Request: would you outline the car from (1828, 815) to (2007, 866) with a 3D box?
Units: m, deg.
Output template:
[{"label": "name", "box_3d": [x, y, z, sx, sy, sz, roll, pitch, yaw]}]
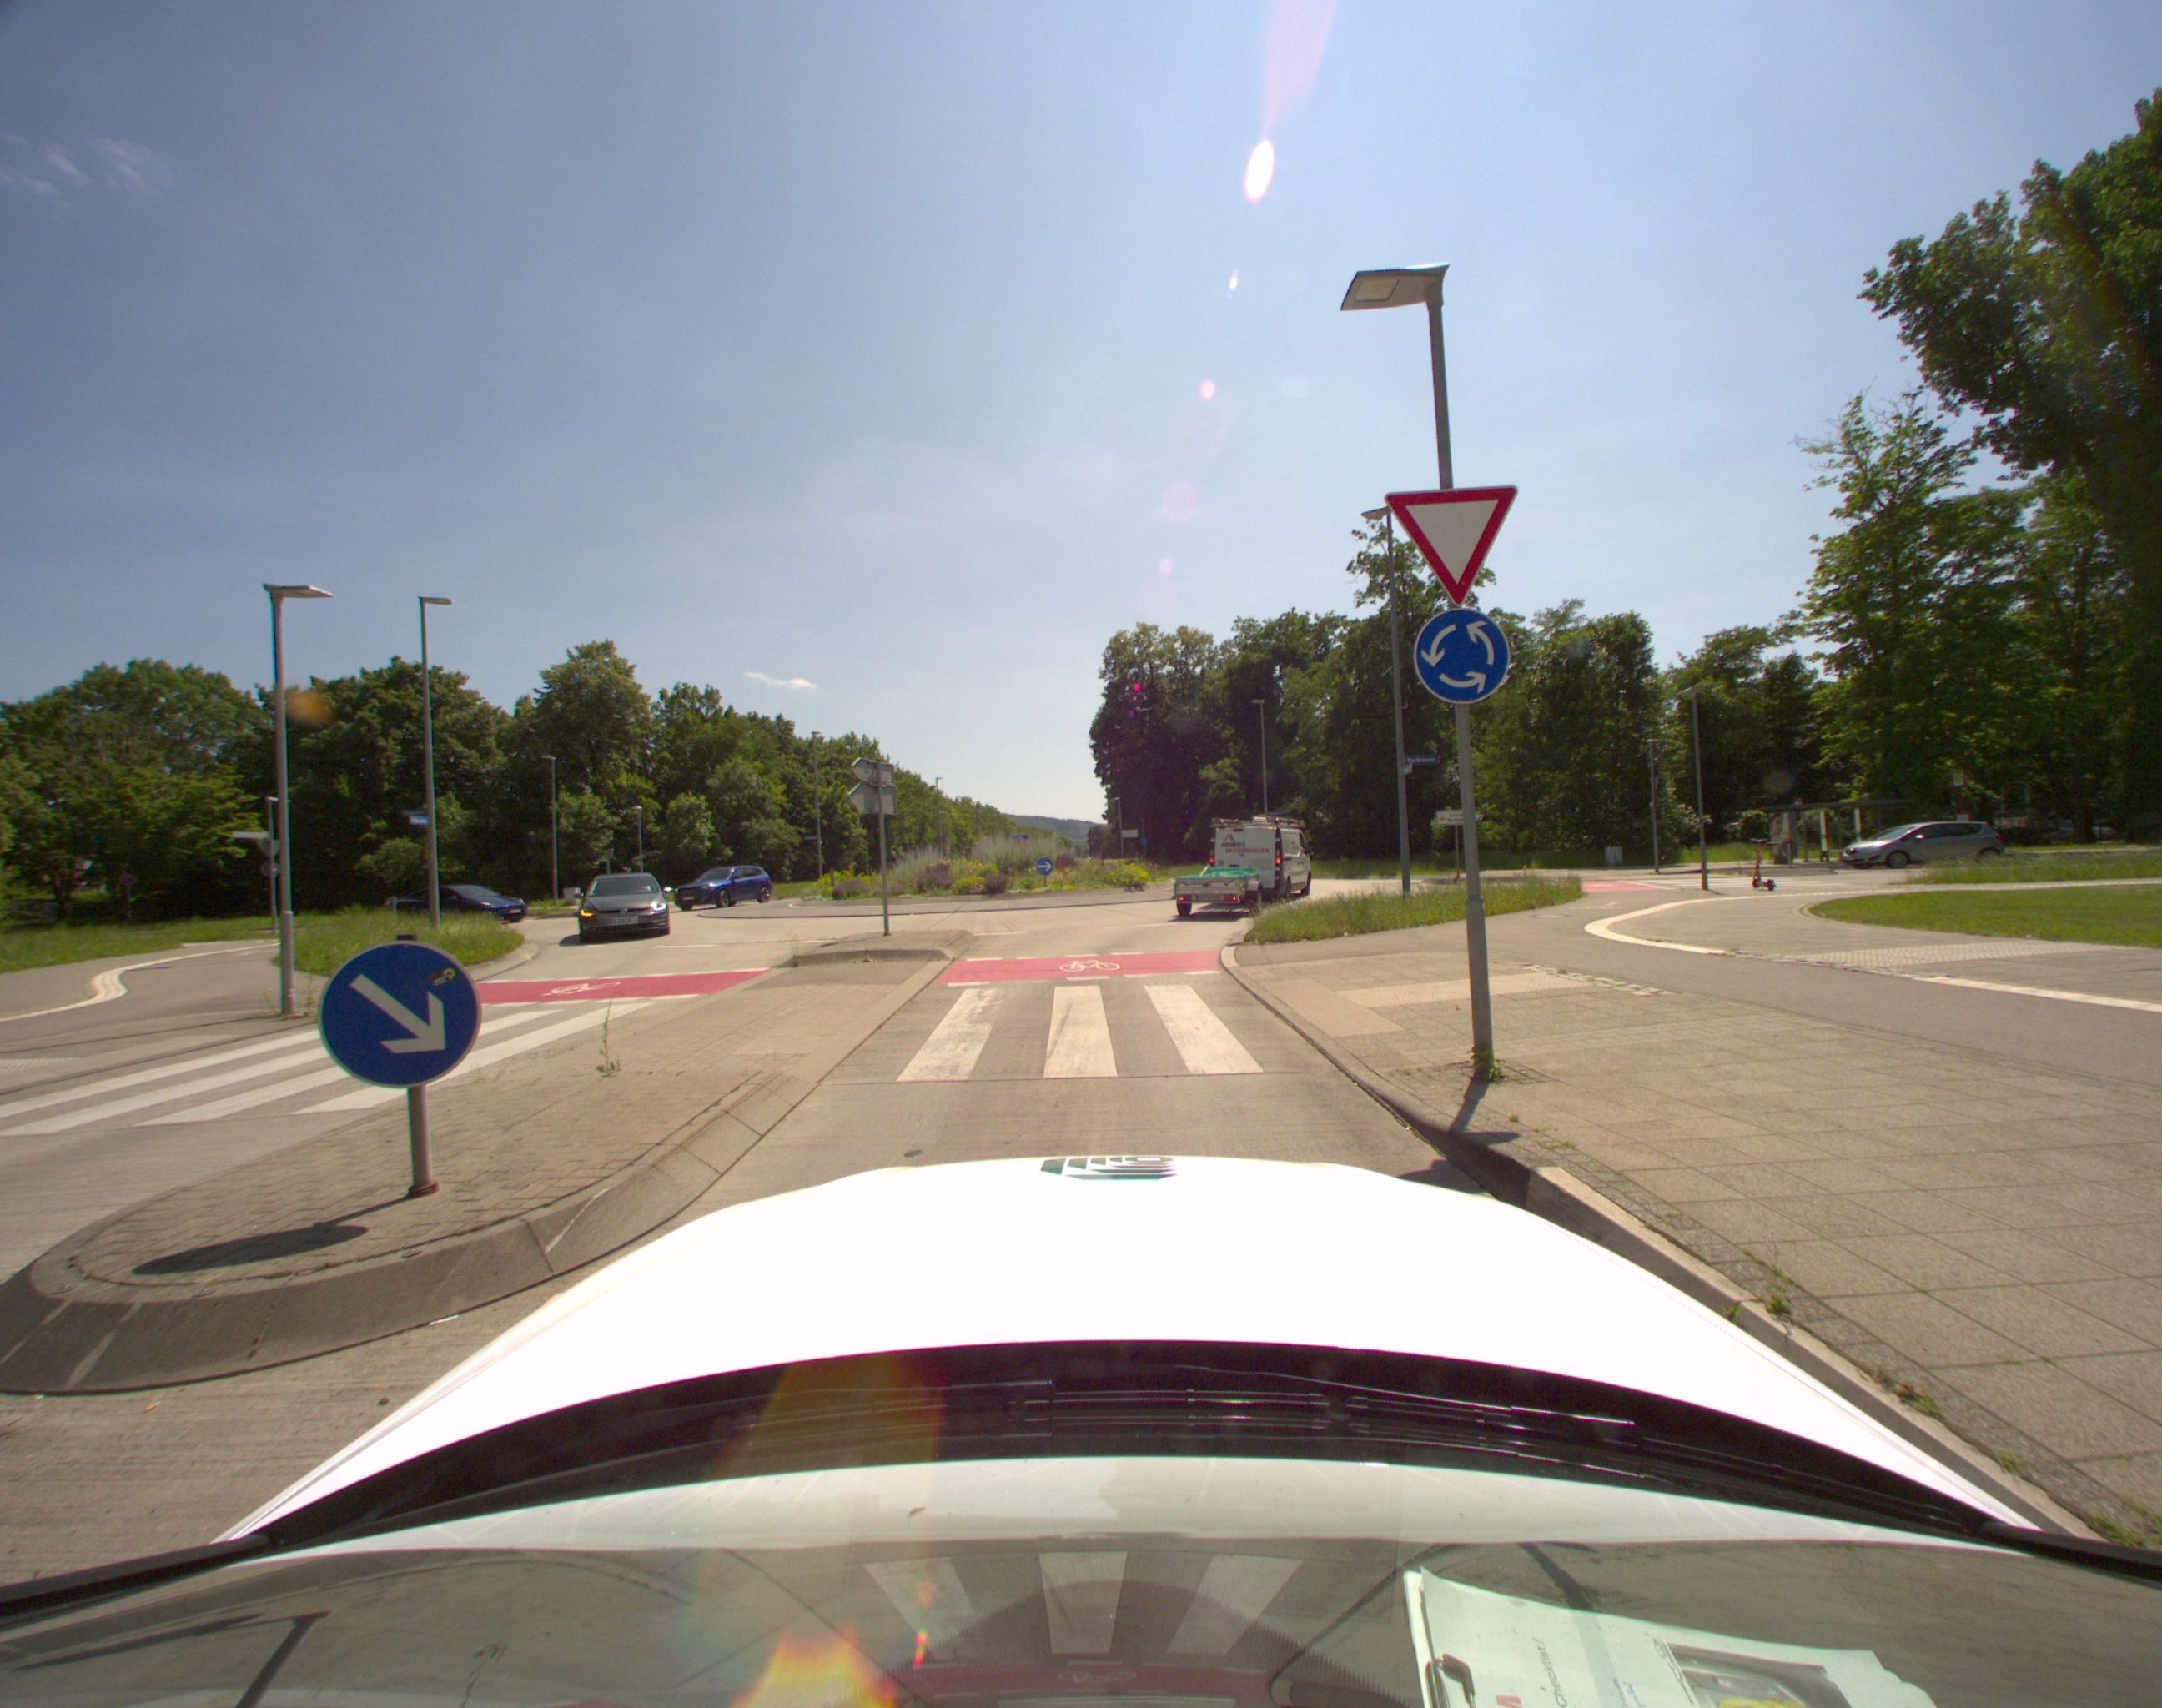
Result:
[{"label": "car", "box_3d": [29.184, -0.435, 28.544, 4.088, 1.607, 1.795, -2, -1, 10]}]

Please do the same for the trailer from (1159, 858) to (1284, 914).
[{"label": "trailer", "box_3d": [3.258, 0.681, 18.317, 2.103, 1.097, 3.372, -2, -1, 21]}]

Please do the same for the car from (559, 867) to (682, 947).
[{"label": "car", "box_3d": [-10.442, 1.127, 18.781, 2.003, 1.478, 4.254, -4, 0, -24]}]

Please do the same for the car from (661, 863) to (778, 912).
[{"label": "car", "box_3d": [-14.386, 1.284, 32.718, 1.979, 1.595, 4.339, -3, 1, 13]}]

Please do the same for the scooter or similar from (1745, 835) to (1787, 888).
[{"label": "scooter or similar", "box_3d": [16.078, 0.174, 19.132, 0.442, 1.201, 1.407, -2, -1, 28]}]

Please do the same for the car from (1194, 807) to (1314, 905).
[{"label": "car", "box_3d": [4.848, 0.068, 22.138, 2.147, 2.316, 5.009, -2, -1, 24]}]

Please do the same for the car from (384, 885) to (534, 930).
[{"label": "car", "box_3d": [-23.547, 2.009, 30.917, 4.517, 1.494, 1.965, -2, -1, 11]}]
